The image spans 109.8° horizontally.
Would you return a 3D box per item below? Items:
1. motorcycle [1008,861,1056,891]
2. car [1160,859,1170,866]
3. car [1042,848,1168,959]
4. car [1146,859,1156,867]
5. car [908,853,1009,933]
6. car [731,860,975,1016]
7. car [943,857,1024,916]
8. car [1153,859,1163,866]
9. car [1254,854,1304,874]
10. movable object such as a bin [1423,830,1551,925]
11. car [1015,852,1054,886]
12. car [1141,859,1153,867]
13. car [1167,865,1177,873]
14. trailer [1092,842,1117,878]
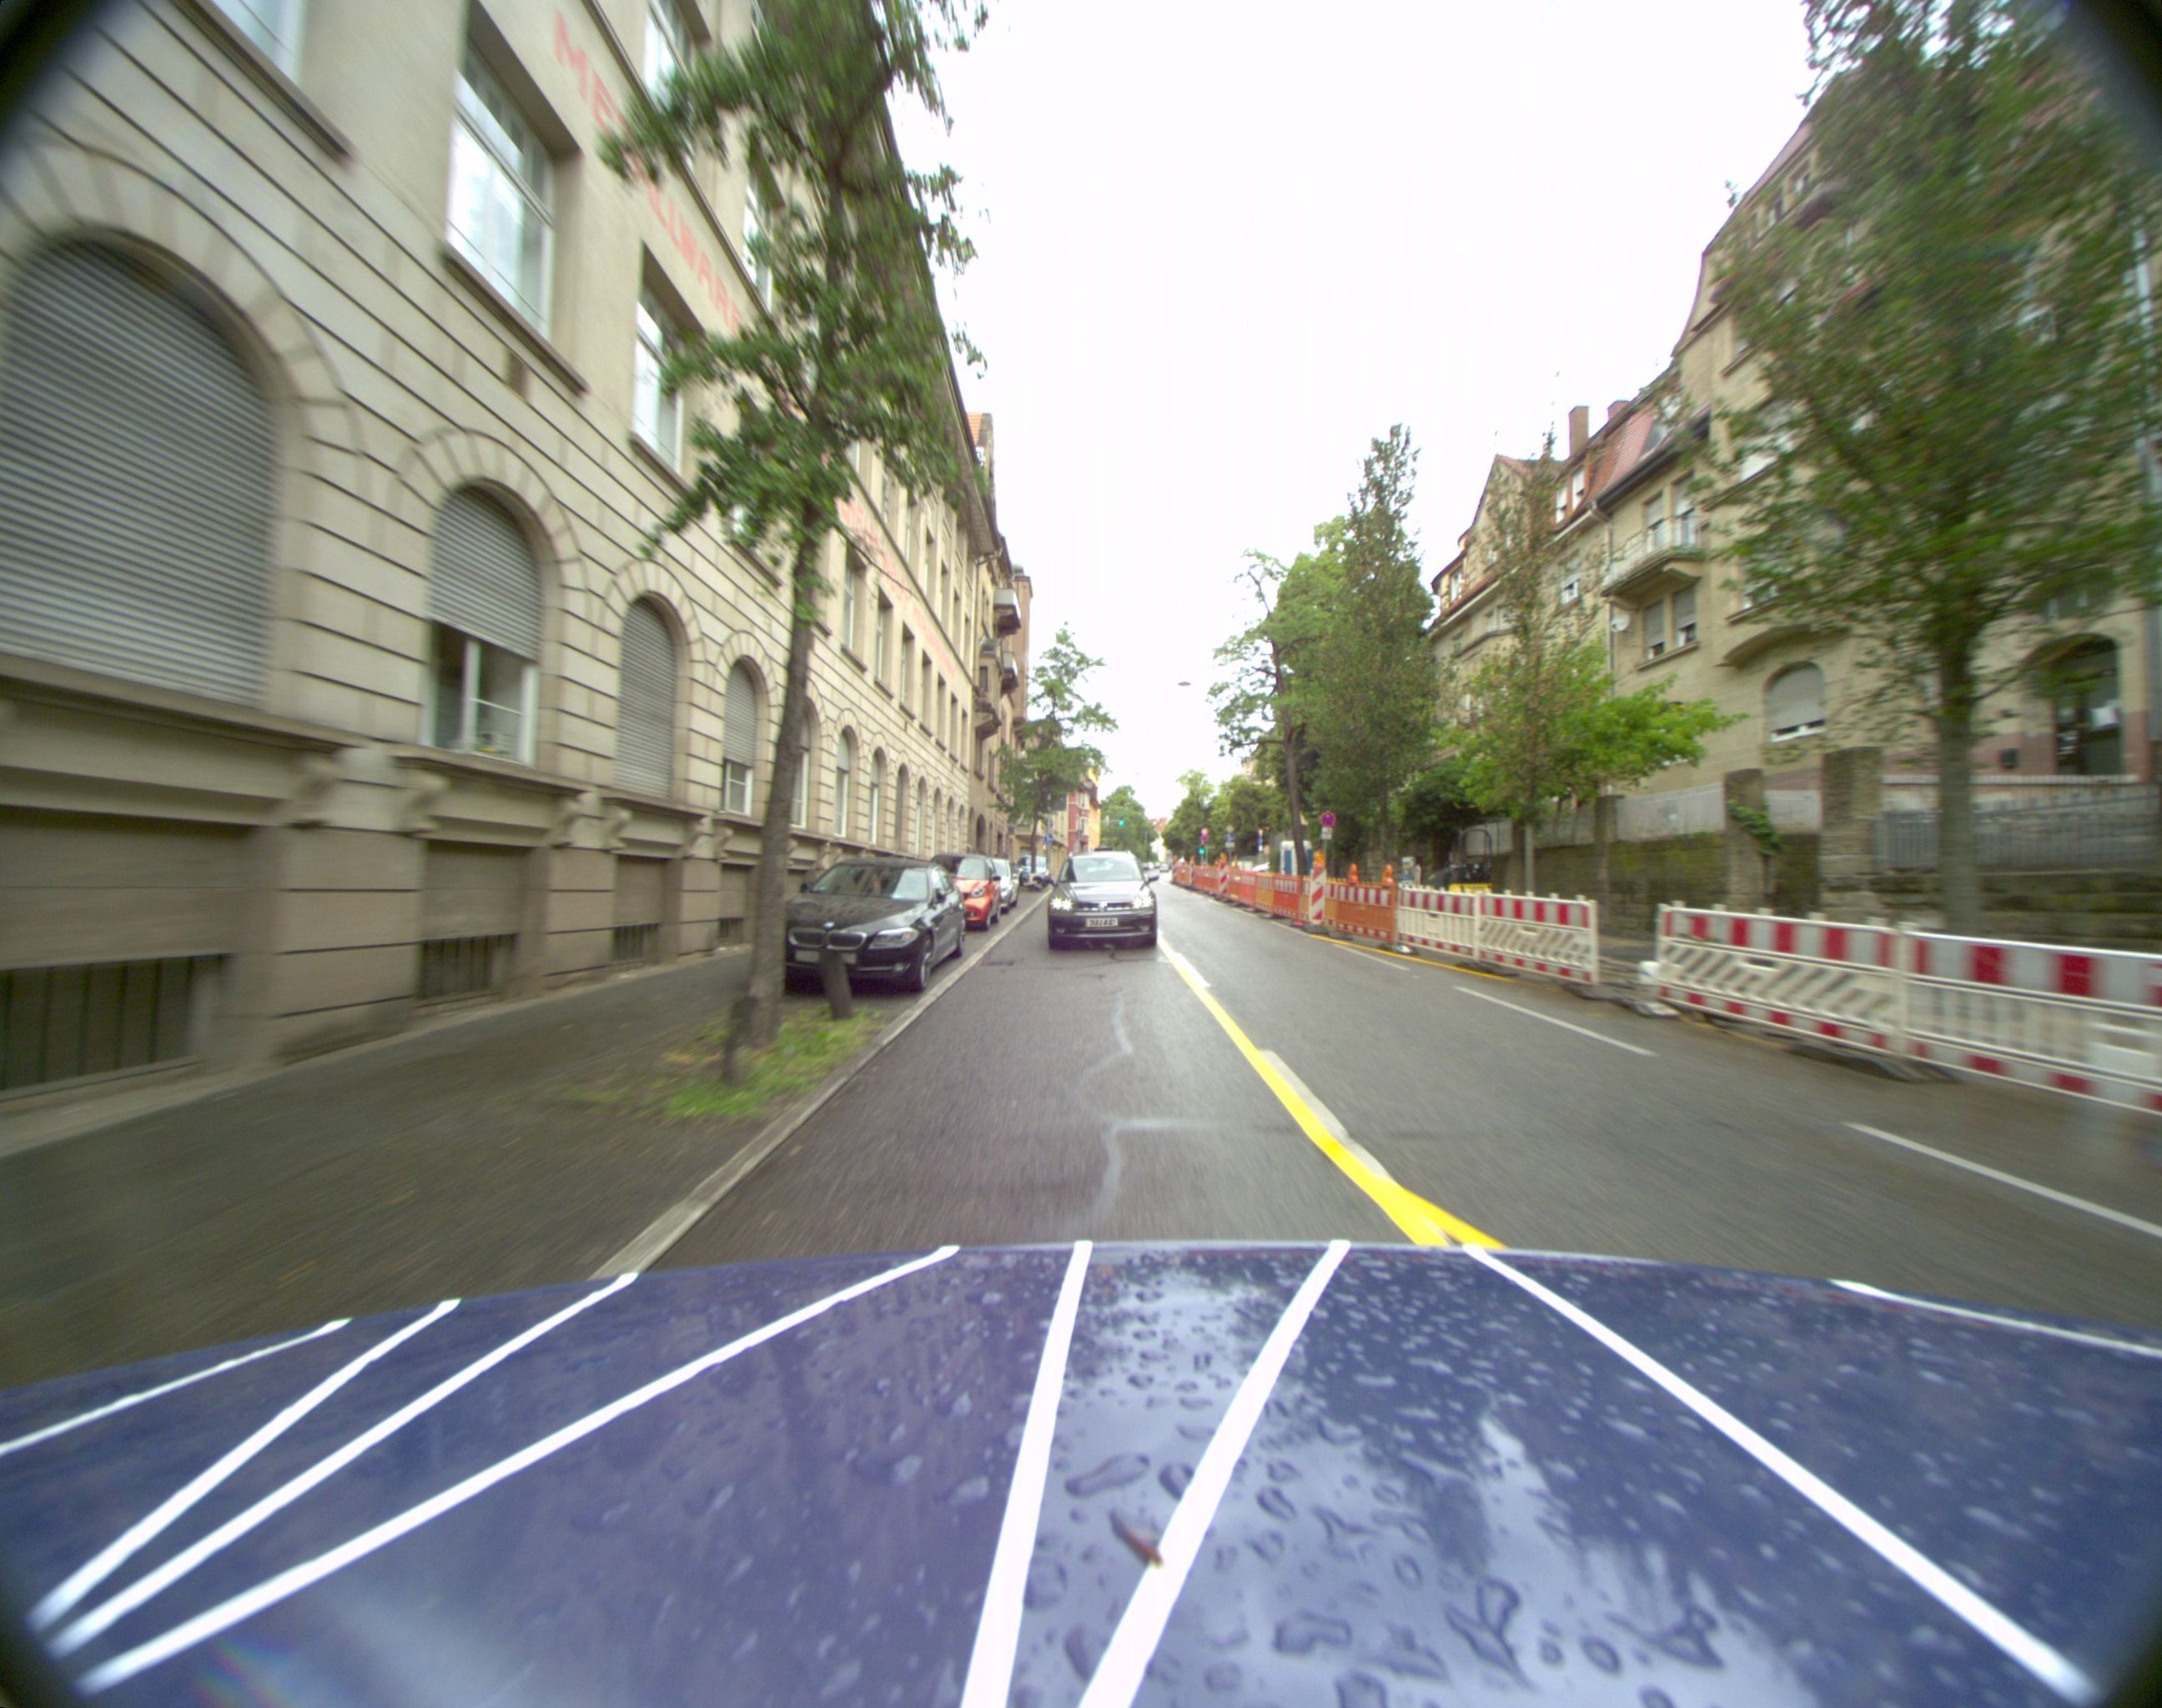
[{"bbox_3d":[-2.072,0.936,32.309,1.943,1.228,0.656,3,-1,-35],"label":"motorcycle"},{"bbox_3d":[18.233,1.893,165.293,1.775,1.508,4.103,1,0,10],"label":"car"},{"bbox_3d":[0.350,0.771,13.808,1.860,1.641,5.195,0,-1,0],"label":"car"},{"bbox_3d":[17.015,2.197,184.550,1.923,1.552,4.016,4,1,11],"label":"car"},{"bbox_3d":[-2.595,0.782,16.705,1.642,1.511,3.183,3,0,0],"label":"car"},{"bbox_3d":[-2.630,0.872,10.042,1.762,1.452,4.723,3,0,0],"label":"car"},{"bbox_3d":[-2.648,0.842,21.614,1.699,1.423,4.422,3,0,0],"label":"car"},{"bbox_3d":[19.625,2.083,193.929,1.923,1.552,4.016,4,0,11],"label":"car"},{"bbox_3d":[16.142,0.798,62.125,3.868,1.401,1.827,-3,1,12],"label":"car"},{"bbox_3d":[10.588,0.582,20.047,1.998,2.286,2.816,1,0,4],"label":"movable object such as a bin"},{"bbox_3d":[-2.284,0.717,38.126,1.661,1.534,3.665,2,0,0],"label":"car"},{"bbox_3d":[15.492,2.119,178.803,1.970,1.642,4.820,4,2,13],"label":"car"},{"bbox_3d":[19.407,3.210,161.561,1.818,1.507,4.556,2,-4,11],"label":"car"},{"bbox_3d":[2.080,0.499,66.070,1.966,3.023,2.366,-1,0,5],"label":"trailer"}]
